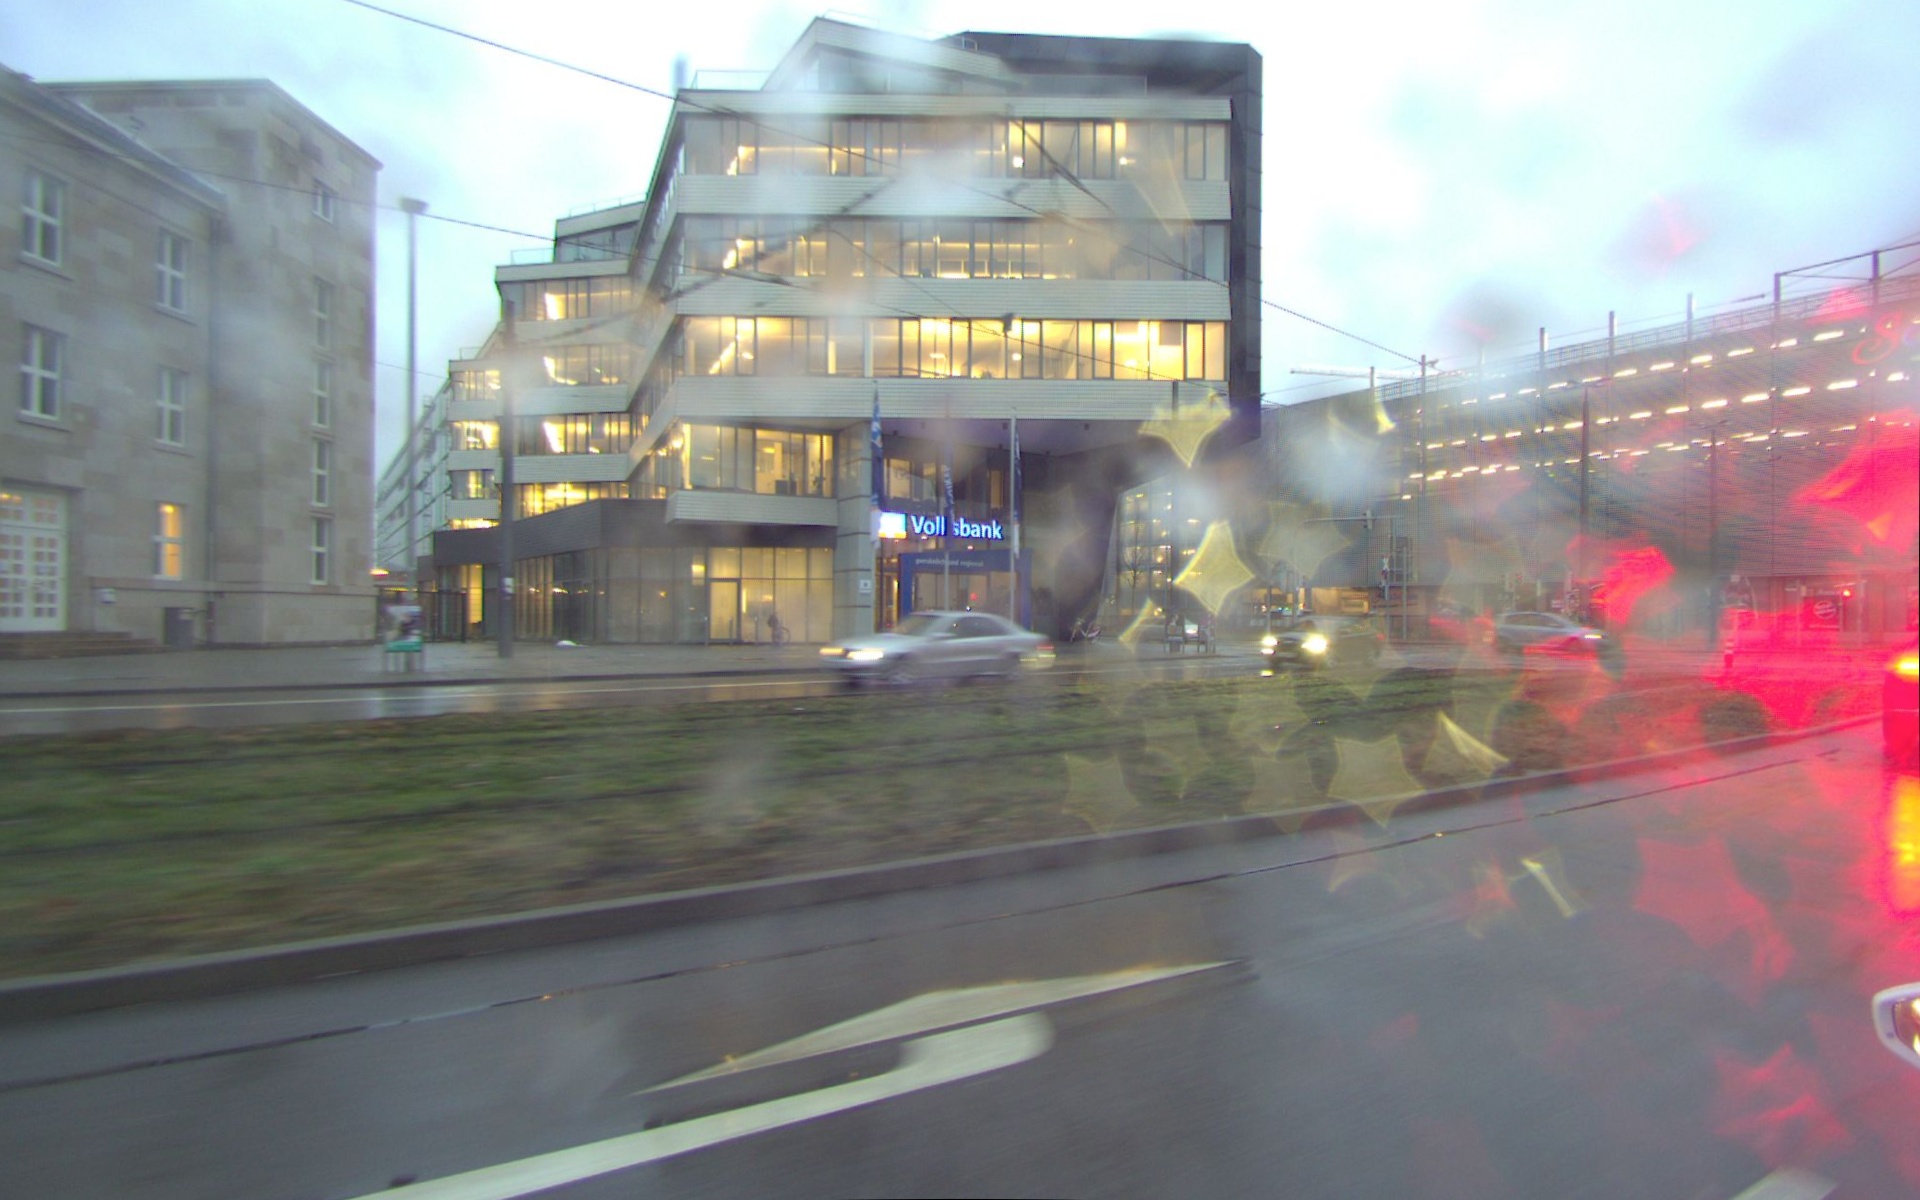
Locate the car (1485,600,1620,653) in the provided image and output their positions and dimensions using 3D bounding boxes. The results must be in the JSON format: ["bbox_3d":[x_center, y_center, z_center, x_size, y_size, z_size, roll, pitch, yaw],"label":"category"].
[{"bbox_3d":[22.110,1.000,37.596,1.986,1.899,3.949,0,-2,-43],"label":"car"}]

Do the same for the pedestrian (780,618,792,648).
[{"bbox_3d":[-6.428,1.224,37.038,0.380,1.103,0.325,0,-1,2],"label":"pedestrian"}]

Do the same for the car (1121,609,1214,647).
[{"bbox_3d":[10.811,1.457,52.612,1.818,1.875,4.628,2,-2,-41],"label":"car"}]

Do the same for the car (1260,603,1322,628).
[{"bbox_3d":[29.465,1.365,89.519,1.874,1.988,5.039,0,1,-37],"label":"car"}]

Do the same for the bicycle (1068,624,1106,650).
[{"bbox_3d":[5.378,1.561,42.544,1.589,1.105,0.553,1,-1,-25],"label":"bicycle"}]

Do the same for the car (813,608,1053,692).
[{"bbox_3d":[-0.467,0.913,20.109,4.612,1.454,1.807,0,1,-37],"label":"car"}]

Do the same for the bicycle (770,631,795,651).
[{"bbox_3d":[-6.525,1.503,36.927,0.896,0.724,0.483,0,-1,-12],"label":"bicycle"}]

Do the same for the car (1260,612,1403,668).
[{"bbox_3d":[10.556,1.081,28.422,4.481,1.419,1.644,0,1,-37],"label":"car"}]

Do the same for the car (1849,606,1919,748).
[{"bbox_3d":[12.499,0.900,12.249,3.963,1.595,1.740,1,-1,-37],"label":"car"}]
